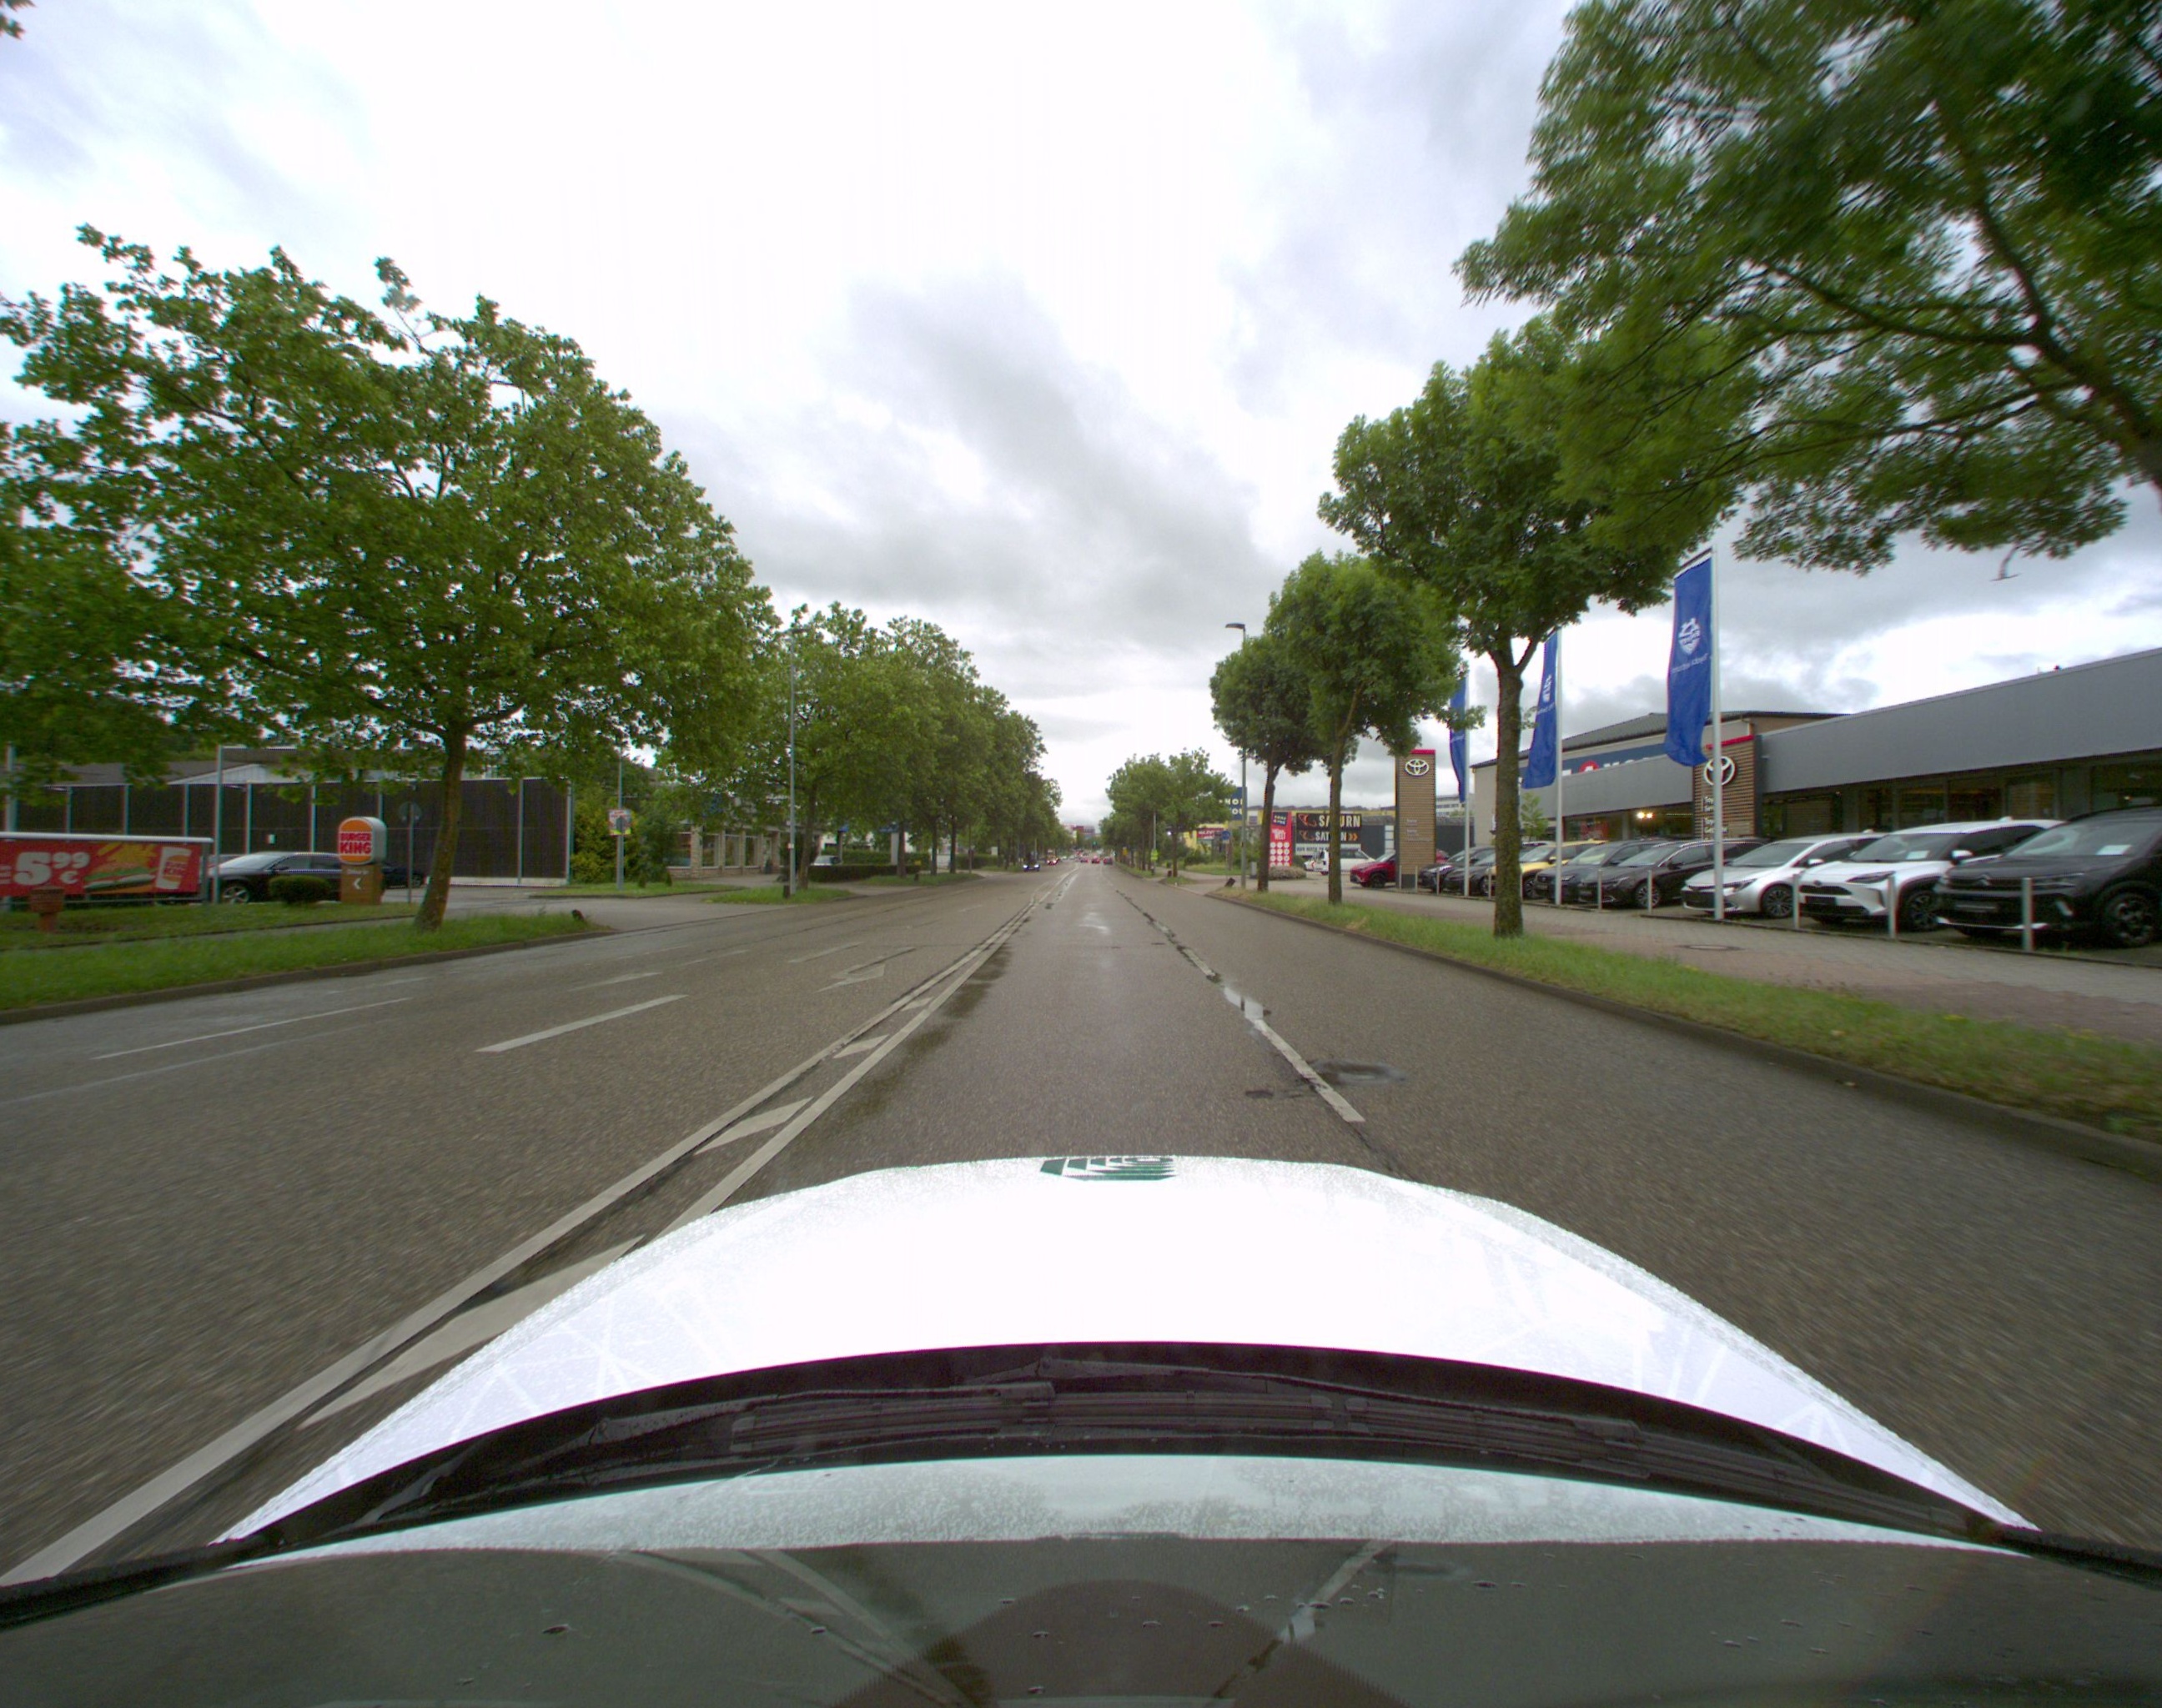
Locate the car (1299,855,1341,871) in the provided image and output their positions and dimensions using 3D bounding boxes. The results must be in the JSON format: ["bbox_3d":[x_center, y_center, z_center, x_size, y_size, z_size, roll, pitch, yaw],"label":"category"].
[{"bbox_3d":[22.543,0.828,76.968,1.879,1.468,4.938,0,0,-8],"label":"car"}]

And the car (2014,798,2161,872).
[{"bbox_3d":[23.577,-0.428,17.952,3.970,1.536,1.675,-1,0,2],"label":"car"}]

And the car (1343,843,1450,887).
[{"bbox_3d":[13.351,0.468,34.651,3.827,1.603,1.796,-3,-1,1],"label":"car"}]

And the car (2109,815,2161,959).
[{"bbox_3d":[13.882,0.214,8.408,3.970,1.585,1.814,-5,-1,3],"label":"car"}]

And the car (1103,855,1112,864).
[{"bbox_3d":[5.834,1.187,179.100,1.738,2.014,4.002,-1,0,2],"label":"car"}]

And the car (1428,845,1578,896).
[{"bbox_3d":[13.651,0.533,26.512,3.972,1.539,1.800,-1,0,1],"label":"car"}]

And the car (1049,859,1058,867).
[{"bbox_3d":[-5.582,1.857,165.859,1.720,1.517,3.822,-1,0,1],"label":"car"}]

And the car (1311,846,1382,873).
[{"bbox_3d":[20.481,0.434,62.978,4.819,2.014,1.984,-1,-1,-9],"label":"car"}]

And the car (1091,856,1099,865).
[{"bbox_3d":[3.533,1.635,205.630,1.738,2.013,4.002,-2,0,2],"label":"car"}]

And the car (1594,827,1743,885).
[{"bbox_3d":[18.589,0.071,26.032,1.867,1.621,4.125,-2,0,3],"label":"car"}]

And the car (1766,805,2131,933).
[{"bbox_3d":[14.016,0.225,13.347,3.974,1.587,1.812,-6,0,0],"label":"car"}]

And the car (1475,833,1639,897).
[{"bbox_3d":[14.013,0.316,24.113,3.828,1.566,1.666,-4,-1,-1],"label":"car"}]

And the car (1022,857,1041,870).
[{"bbox_3d":[-5.845,1.137,96.717,1.797,1.463,3.847,-2,0,2],"label":"car"}]

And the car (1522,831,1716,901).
[{"bbox_3d":[14.279,0.321,21.791,3.970,1.547,1.712,-4,-1,3],"label":"car"}]

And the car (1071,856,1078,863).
[{"bbox_3d":[-1.994,1.552,241.461,1.987,2.014,4.000,-1,0,0],"label":"car"}]

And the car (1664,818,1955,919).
[{"bbox_3d":[14.074,0.282,15.941,3.970,1.786,1.814,-1,0,3],"label":"car"}]

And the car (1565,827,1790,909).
[{"bbox_3d":[14.045,0.333,19.377,3.970,1.786,1.814,-1,0,3],"label":"car"}]

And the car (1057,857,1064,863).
[{"bbox_3d":[-6.226,1.752,247.992,1.697,1.737,4.004,-1,0,3],"label":"car"}]

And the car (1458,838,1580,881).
[{"bbox_3d":[18.312,0.225,34.226,4.089,1.621,1.883,-2,-1,5],"label":"car"}]

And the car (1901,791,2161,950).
[{"bbox_3d":[13.925,0.120,10.833,3.970,1.786,1.814,-5,-1,3],"label":"car"}]

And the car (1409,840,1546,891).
[{"bbox_3d":[14.059,0.407,29.067,3.972,1.647,1.845,-2,0,1],"label":"car"}]

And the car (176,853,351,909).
[{"bbox_3d":[-19.527,0.624,19.492,3.156,1.155,1.294,2,0,9],"label":"car"}]

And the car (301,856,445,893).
[{"bbox_3d":[-30.023,0.841,34.714,1.852,1.364,4.331,-1,1,13],"label":"car"}]

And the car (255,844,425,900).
[{"bbox_3d":[-20.329,0.536,22.524,1.425,1.427,3.199,1,-3,9],"label":"car"}]

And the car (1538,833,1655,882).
[{"bbox_3d":[19.100,0.125,30.433,1.867,1.621,4.125,-2,0,3],"label":"car"}]

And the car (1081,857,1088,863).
[{"bbox_3d":[0.986,1.608,228.432,1.738,1.701,4.002,-1,0,2],"label":"car"}]
